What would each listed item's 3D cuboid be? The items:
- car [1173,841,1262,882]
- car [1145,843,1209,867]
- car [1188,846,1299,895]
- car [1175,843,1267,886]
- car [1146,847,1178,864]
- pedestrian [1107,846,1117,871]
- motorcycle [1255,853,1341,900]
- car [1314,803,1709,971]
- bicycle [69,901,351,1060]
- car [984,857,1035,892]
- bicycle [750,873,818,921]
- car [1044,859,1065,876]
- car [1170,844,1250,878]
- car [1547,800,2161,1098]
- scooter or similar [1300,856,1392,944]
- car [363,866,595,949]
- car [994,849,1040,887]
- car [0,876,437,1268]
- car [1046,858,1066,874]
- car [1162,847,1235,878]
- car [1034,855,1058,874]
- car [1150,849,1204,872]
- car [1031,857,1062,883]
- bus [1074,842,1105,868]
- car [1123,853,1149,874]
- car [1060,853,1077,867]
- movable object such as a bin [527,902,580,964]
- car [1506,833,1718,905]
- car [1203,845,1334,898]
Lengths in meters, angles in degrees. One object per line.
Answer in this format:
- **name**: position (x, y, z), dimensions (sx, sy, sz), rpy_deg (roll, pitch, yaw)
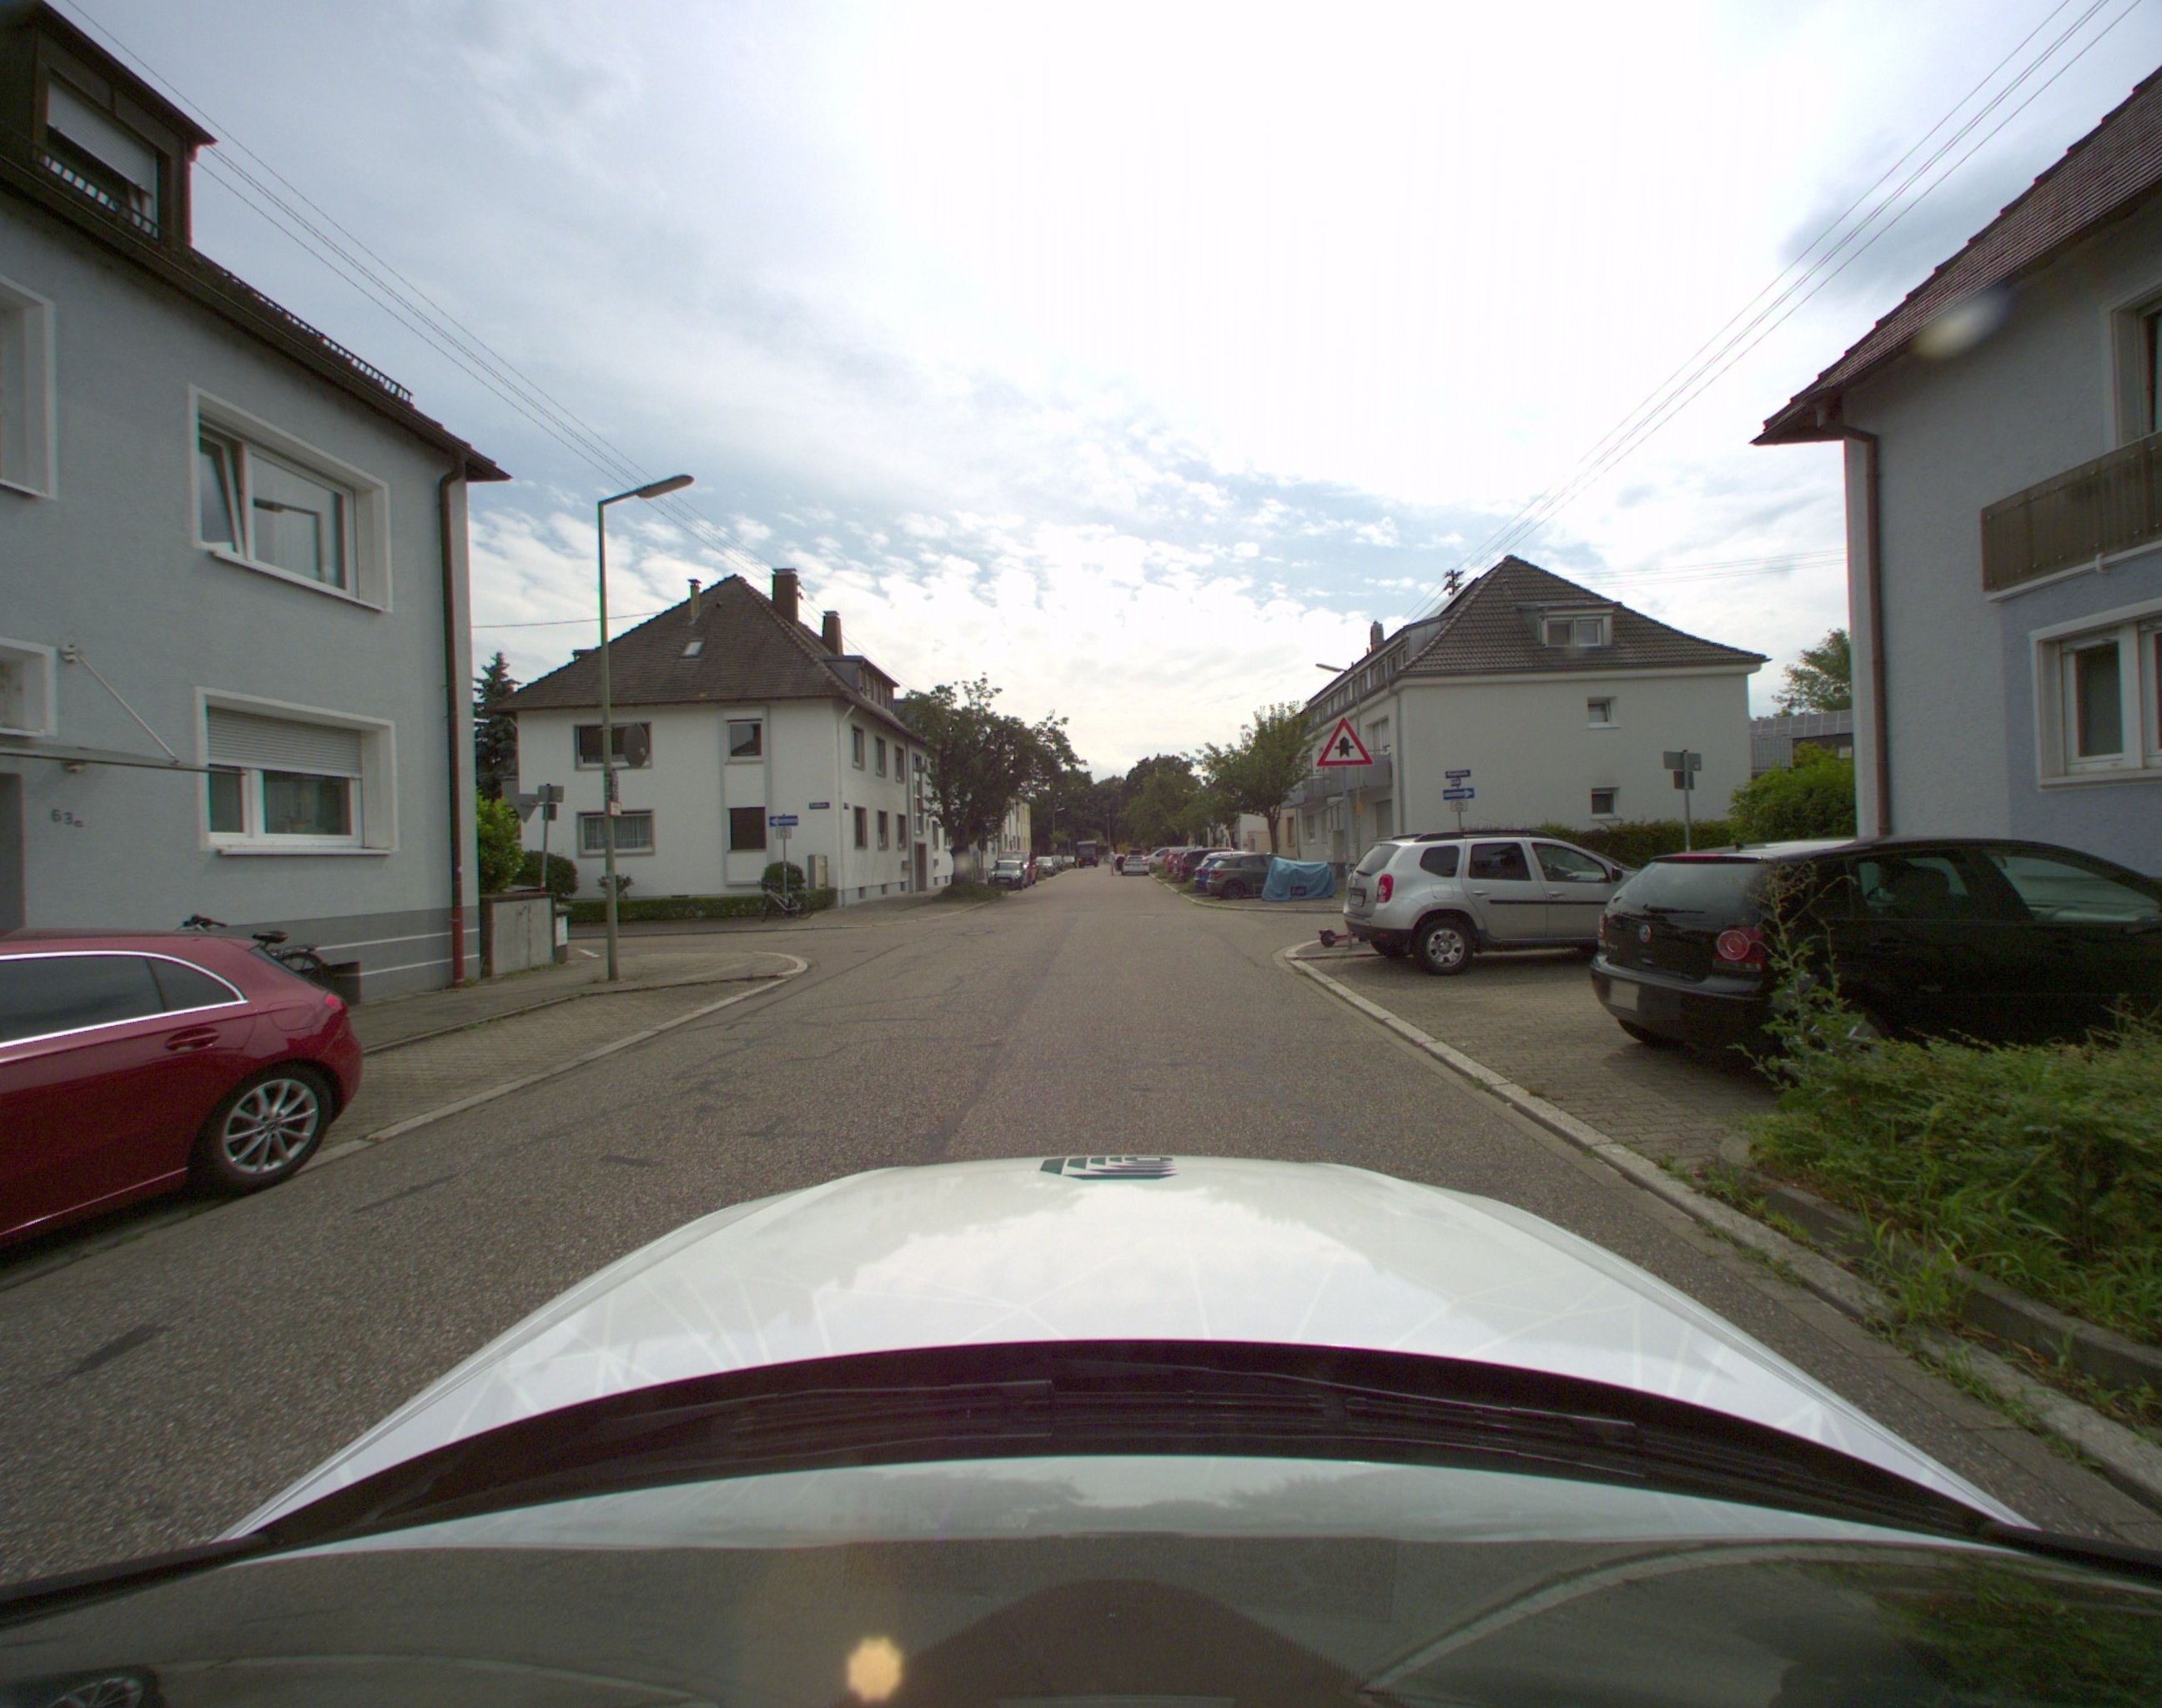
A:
- **car**: position (6.523, 0.351, 39.181), dimensions (3.970, 1.618, 1.869), rpy_deg (-4, 0, 3)
- **car**: position (7.776, 0.088, 66.109), dimensions (4.958, 1.518, 1.769), rpy_deg (-4, 0, 0)
- **car**: position (5.602, 0.571, 28.337), dimensions (3.503, 1.412, 1.560), rpy_deg (-4, 0, 2)
- **car**: position (6.156, 0.461, 36.084), dimensions (3.732, 1.564, 1.774), rpy_deg (-4, 0, 3)
- **car**: position (9.446, 0.173, 95.164), dimensions (3.515, 1.602, 1.775), rpy_deg (-4, 0, 3)
- **pedestrian**: position (2.170, 0.329, 57.322), dimensions (0.519, 1.704, 0.445), rpy_deg (-4, 0, 6)
- **motorcycle**: position (6.175, 0.631, 23.303), dimensions (2.186, 1.210, 0.940), rpy_deg (-2, 0, 0)
- **car**: position (5.208, 0.371, 10.225), dimensions (3.915, 1.633, 1.866), rpy_deg (-4, 0, -3)
- **bicycle**: position (-7.757, 1.055, 7.403), dimensions (0.488, 1.153, 1.874), rpy_deg (0, 0, 2)
- **car**: position (-3.538, 1.001, 40.915), dimensions (1.754, 1.554, 3.737), rpy_deg (-4, 0, 6)
- **bicycle**: position (-8.076, 1.158, 22.174), dimensions (1.629, 1.179, 0.435), rpy_deg (-4, 0, -2)
- **car**: position (-2.194, 1.135, 69.075), dimensions (1.534, 1.301, 3.721), rpy_deg (-4, 0, 0)
- **car**: position (6.908, 0.373, 43.912), dimensions (3.972, 1.518, 1.723), rpy_deg (-4, 0, 2)
- **car**: position (5.516, 0.479, 5.240), dimensions (3.971, 1.421, 1.713), rpy_deg (-4, 0, 2)
- **scooter or similar**: position (4.110, 0.697, 12.656), dimensions (1.239, 1.243, 0.420), rpy_deg (-4, 0, -11)
- **car**: position (-12.800, 1.111, 17.439), dimensions (3.737, 1.422, 1.667), rpy_deg (-4, 0, 6)
- **car**: position (-3.572, 0.752, 46.153), dimensions (1.986, 2.013, 4.522), rpy_deg (-2, 0, 2)
- **car**: position (-5.234, 0.950, 3.020), dimensions (1.869, 1.486, 4.515), rpy_deg (-4, 0, 2)
- **car**: position (-2.375, 1.101, 77.840), dimensions (1.645, 1.377, 3.723), rpy_deg (-4, 0, 2)
- **car**: position (6.740, 0.493, 47.110), dimensions (3.972, 1.438, 1.723), rpy_deg (-4, 0, 2)
- **car**: position (-2.724, 0.814, 64.027), dimensions (1.646, 1.377, 3.721), rpy_deg (-4, 0, 0)
- **car**: position (7.513, 0.519, 63.804), dimensions (3.972, 1.518, 1.723), rpy_deg (-4, 0, 2)
- **car**: position (-2.197, 0.992, 52.269), dimensions (1.645, 1.461, 3.554), rpy_deg (-4, 0, 2)
- **bus**: position (1.117, 0.130, 95.787), dimensions (2.991, 2.761, 8.933), rpy_deg (-4, 0, 4)
- **car**: position (3.877, 0.647, 57.806), dimensions (1.680, 1.354, 3.830), rpy_deg (-4, 0, 4)
- **car**: position (-1.488, 0.692, 96.795), dimensions (1.614, 1.502, 4.004), rpy_deg (-4, 0, 4)
- **movable object such as a bin**: position (-8.398, 1.250, 12.978), dimensions (0.485, 0.907, 0.475), rpy_deg (-4, 0, -4)
- **car**: position (12.203, 0.340, 18.893), dimensions (3.787, 1.443, 1.665), rpy_deg (-2, 0, 2)
- **car**: position (5.839, 0.530, 25.710), dimensions (3.732, 1.365, 1.774), rpy_deg (-4, 0, 3)
